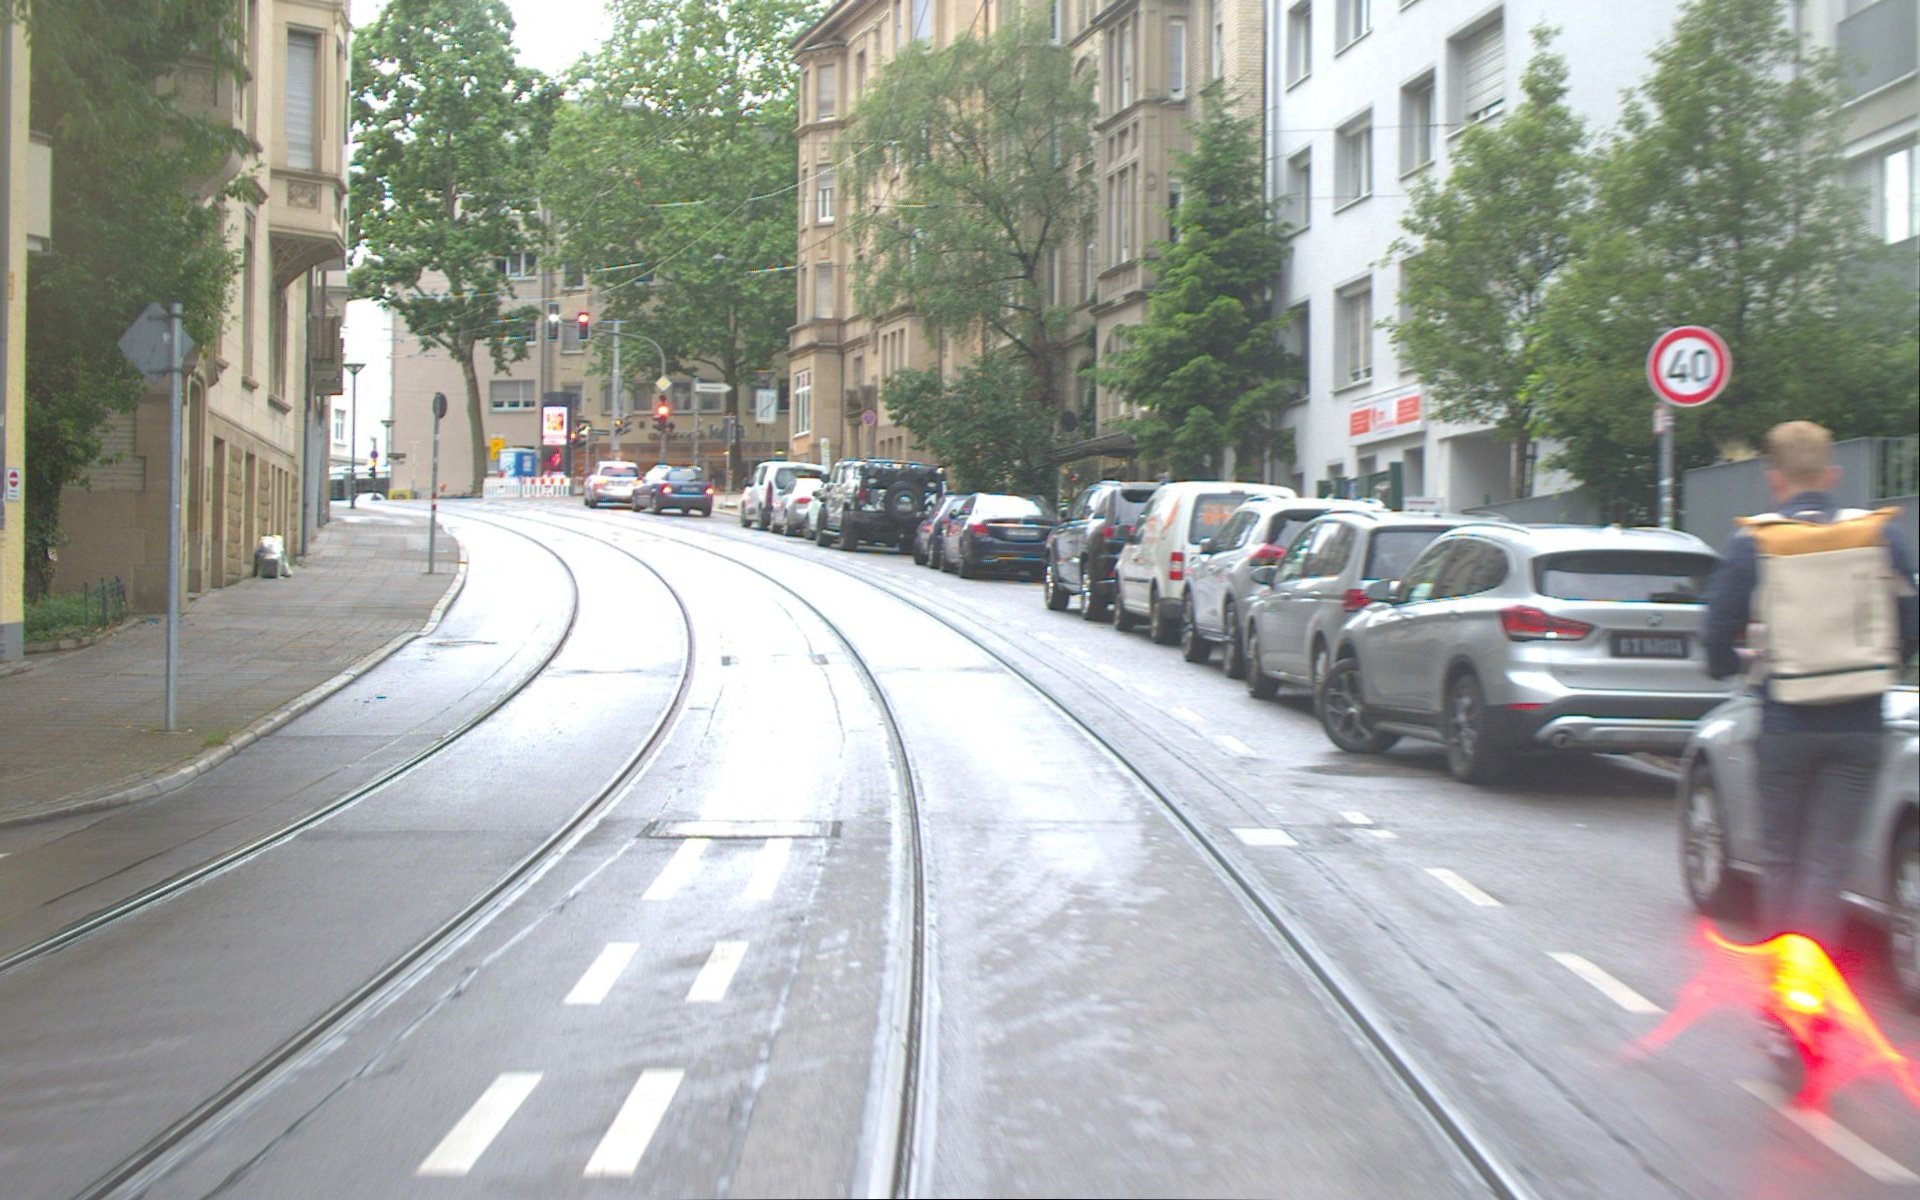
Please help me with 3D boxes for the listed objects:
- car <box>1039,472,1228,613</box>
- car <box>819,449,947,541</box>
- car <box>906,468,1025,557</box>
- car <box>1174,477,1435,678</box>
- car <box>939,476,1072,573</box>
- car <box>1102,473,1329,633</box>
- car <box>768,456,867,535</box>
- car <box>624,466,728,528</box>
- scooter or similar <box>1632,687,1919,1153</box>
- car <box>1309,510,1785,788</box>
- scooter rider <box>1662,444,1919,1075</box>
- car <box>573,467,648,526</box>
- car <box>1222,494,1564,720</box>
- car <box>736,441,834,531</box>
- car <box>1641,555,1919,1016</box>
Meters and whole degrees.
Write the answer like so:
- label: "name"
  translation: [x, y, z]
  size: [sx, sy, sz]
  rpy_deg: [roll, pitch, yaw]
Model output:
- label: "car"
  translation: [2.194, -0.787, 44.567]
  size: [1.766, 1.678, 4.249]
  rpy_deg: [2, 2, -6]
- label: "car"
  translation: [-1.655, -2.241, 72.390]
  size: [2.027, 1.818, 4.369]
  rpy_deg: [2, 2, -10]
- label: "car"
  translation: [0.075, -1.636, 63.262]
  size: [1.649, 1.530, 3.890]
  rpy_deg: [-2, 3, -7]
- label: "car"
  translation: [3.291, -0.279, 33.606]
  size: [1.766, 1.781, 4.249]
  rpy_deg: [2, 2, -4]
- label: "car"
  translation: [0.732, -1.313, 58.306]
  size: [1.766, 1.512, 4.141]
  rpy_deg: [2, 2, -6]
- label: "car"
  translation: [2.878, -0.584, 39.585]
  size: [1.766, 1.678, 4.249]
  rpy_deg: [2, 2, -7]
- label: "car"
  translation: [-3.493, -2.567, 83.777]
  size: [2.027, 1.818, 4.141]
  rpy_deg: [2, 2, -7]
- label: "car"
  translation: [-8.528, -3.086, 102.875]
  size: [2.027, 1.728, 4.141]
  rpy_deg: [1, 2, -20]
- label: "scooter or similar"
  translation: [2.360, 0.831, 9.644]
  size: [0.513, 1.046, 2.009]
  rpy_deg: [1, 2, -1]
- label: "car"
  translation: [3.641, 0.227, 22.125]
  size: [1.766, 1.609, 4.249]
  rpy_deg: [0, 2, -9]
- label: "scooter rider"
  translation: [2.385, 0.413, 9.663]
  size: [0.623, 1.699, 0.844]
  rpy_deg: [0, 2, -1]
- label: "car"
  translation: [-11.067, -3.286, 108.659]
  size: [1.856, 1.728, 4.141]
  rpy_deg: [1, 2, -13]
- label: "car"
  translation: [3.425, -0.008, 28.028]
  size: [1.766, 1.609, 4.249]
  rpy_deg: [2, 2, -6]
- label: "car"
  translation: [-4.554, -2.971, 88.923]
  size: [2.027, 2.210, 4.141]
  rpy_deg: [2, 2, -9]
- label: "car"
  translation: [3.904, 0.585, 12.445]
  size: [1.762, 1.430, 4.640]
  rpy_deg: [0, 2, -3]
